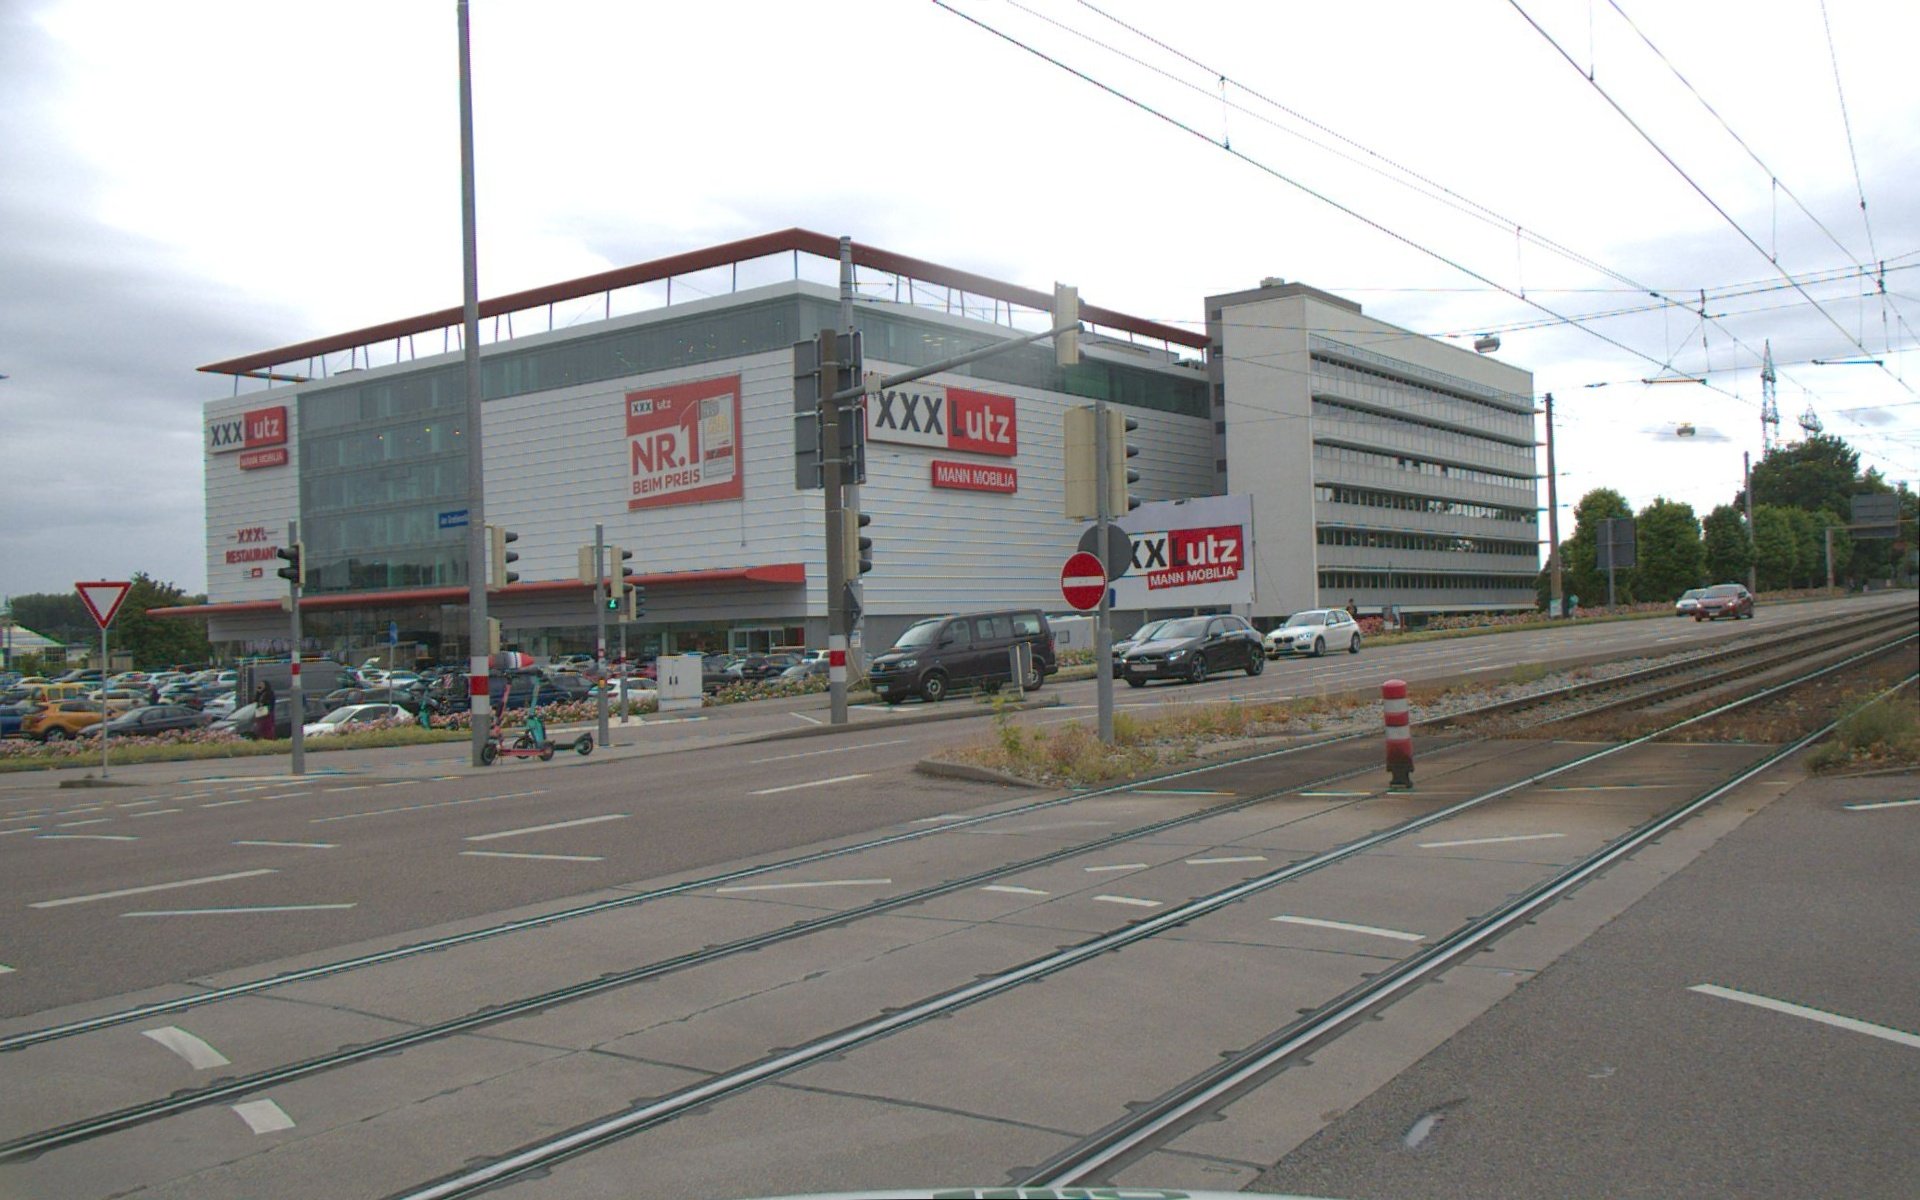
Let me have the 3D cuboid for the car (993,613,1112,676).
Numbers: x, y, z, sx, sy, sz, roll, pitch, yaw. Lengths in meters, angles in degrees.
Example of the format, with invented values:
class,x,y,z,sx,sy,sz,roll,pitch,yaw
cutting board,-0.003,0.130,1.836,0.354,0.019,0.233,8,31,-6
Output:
class,x,y,z,sx,sy,sz,roll,pitch,yaw
car,4.843,2.260,85.507,2.715,3.042,6.920,-1,-1,37

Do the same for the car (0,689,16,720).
class,x,y,z,sx,sy,sz,roll,pitch,yaw
car,-54.315,5.826,90.573,1.799,1.693,4.165,-4,-3,39

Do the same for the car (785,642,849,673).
class,x,y,z,sx,sy,sz,roll,pitch,yaw
car,-8.147,3.276,94.500,1.619,1.587,3.600,-2,0,38

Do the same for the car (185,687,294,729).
class,x,y,z,sx,sy,sz,roll,pitch,yaw
car,-31.515,4.735,72.442,1.828,1.579,3.981,-4,-3,38

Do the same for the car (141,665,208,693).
class,x,y,z,sx,sy,sz,roll,pitch,yaw
car,-51.005,5.125,107.395,1.708,1.615,3.560,-4,-3,41

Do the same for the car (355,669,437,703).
class,x,y,z,sx,sy,sz,roll,pitch,yaw
car,-31.476,4.778,92.363,1.797,1.684,3.986,-4,-2,35

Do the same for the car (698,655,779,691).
class,x,y,z,sx,sy,sz,roll,pitch,yaw
car,-11.227,3.696,84.068,1.744,1.558,3.982,-3,-1,38

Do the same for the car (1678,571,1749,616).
class,x,y,z,sx,sy,sz,roll,pitch,yaw
car,32.012,-0.291,70.252,1.960,1.758,3.986,-4,-1,35

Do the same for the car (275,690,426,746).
class,x,y,z,sx,sy,sz,roll,pitch,yaw
car,-18.918,3.633,51.495,1.838,1.471,4.105,-1,-1,35

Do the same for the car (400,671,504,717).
class,x,y,z,sx,sy,sz,roll,pitch,yaw
car,-22.185,4.101,72.377,1.849,1.699,3.982,-4,-2,38

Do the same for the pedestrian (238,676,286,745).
class,x,y,z,sx,sy,sz,roll,pitch,yaw
pedestrian,-17.371,2.750,41.184,0.699,1.625,0.784,-5,-3,12

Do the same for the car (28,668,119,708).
class,x,y,z,sx,sy,sz,roll,pitch,yaw
car,-44.593,4.396,83.244,1.700,1.799,3.731,-1,-1,38

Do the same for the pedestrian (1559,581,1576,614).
class,x,y,z,sx,sy,sz,roll,pitch,yaw
pedestrian,31.698,-0.120,86.306,0.605,1.682,0.540,0,-1,-26

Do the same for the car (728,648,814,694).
class,x,y,z,sx,sy,sz,roll,pitch,yaw
car,-9.377,3.509,82.080,1.913,1.962,3.981,-5,-2,39

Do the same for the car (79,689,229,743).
class,x,y,z,sx,sy,sz,roll,pitch,yaw
car,-28.452,4.054,58.501,1.734,1.611,4.524,-1,-1,36

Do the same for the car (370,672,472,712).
class,x,y,z,sx,sy,sz,roll,pitch,yaw
car,-24.187,4.129,74.307,1.819,1.583,3.982,-4,-3,37

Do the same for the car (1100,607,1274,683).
class,x,y,z,sx,sy,sz,roll,pitch,yaw
car,5.162,0.989,37.226,1.804,1.489,4.183,-5,-2,41

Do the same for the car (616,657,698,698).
class,x,y,z,sx,sy,sz,roll,pitch,yaw
car,-15.803,4.018,86.363,1.786,1.850,3.981,-5,-2,39

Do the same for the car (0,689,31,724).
class,x,y,z,sx,sy,sz,roll,pitch,yaw
car,-52.579,5.772,88.849,1.853,1.774,4.305,-1,-1,39

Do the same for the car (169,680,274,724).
class,x,y,z,sx,sy,sz,roll,pitch,yaw
car,-33.222,4.572,74.468,1.794,1.683,3.891,-3,0,35

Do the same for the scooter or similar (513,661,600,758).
class,x,y,z,sx,sy,sz,roll,pitch,yaw
scooter or similar,-5.704,1.544,23.409,1.105,1.277,0.316,-3,-3,-41

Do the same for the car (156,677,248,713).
class,x,y,z,sx,sy,sz,roll,pitch,yaw
car,-39.341,4.926,85.947,1.752,1.663,3.981,-4,-3,38

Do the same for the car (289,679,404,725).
class,x,y,z,sx,sy,sz,roll,pitch,yaw
car,-25.220,4.188,68.062,1.961,1.596,3.984,-4,-1,37

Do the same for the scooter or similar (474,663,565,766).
class,x,y,z,sx,sy,sz,roll,pitch,yaw
scooter or similar,-5.892,1.531,22.147,1.009,1.277,0.458,-3,-3,-40

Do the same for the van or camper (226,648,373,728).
class,x,y,z,sx,sy,sz,roll,pitch,yaw
van or camper,-27.650,3.661,69.402,1.958,3.036,5.359,-5,-3,45

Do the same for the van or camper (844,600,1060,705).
class,x,y,z,sx,sy,sz,roll,pitch,yaw
van or camper,-0.166,1.226,39.298,4.703,2.048,2.096,-4,-2,-37

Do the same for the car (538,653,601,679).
class,x,y,z,sx,sy,sz,roll,pitch,yaw
car,-25.555,4.285,108.268,1.794,1.581,3.791,-1,-1,36

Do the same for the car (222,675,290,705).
class,x,y,z,sx,sy,sz,roll,pitch,yaw
car,-43.054,5.510,101.184,1.472,1.583,3.541,-4,-1,38

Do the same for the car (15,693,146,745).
class,x,y,z,sx,sy,sz,roll,pitch,yaw
car,-32.944,4.434,62.024,1.782,1.672,3.977,-4,-2,41

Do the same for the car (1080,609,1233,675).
class,x,y,z,sx,sy,sz,roll,pitch,yaw
car,5.325,1.111,44.498,1.933,1.489,4.297,-4,-1,41

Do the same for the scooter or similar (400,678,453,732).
class,x,y,z,sx,sy,sz,roll,pitch,yaw
scooter or similar,-13.159,2.588,40.811,1.138,1.254,0.346,-3,-3,-2

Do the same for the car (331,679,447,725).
class,x,y,z,sx,sy,sz,roll,pitch,yaw
car,-23.036,4.102,66.838,1.913,1.583,3.975,-5,-3,42

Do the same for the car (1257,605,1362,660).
class,x,y,z,sx,sy,sz,roll,pitch,yaw
car,10.943,0.986,51.627,1.699,1.566,4.030,-1,0,36

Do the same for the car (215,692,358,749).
class,x,y,z,sx,sy,sz,roll,pitch,yaw
car,-22.205,3.932,54.625,1.735,1.611,4.088,-2,-1,37

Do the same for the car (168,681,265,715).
class,x,y,z,sx,sy,sz,roll,pitch,yaw
car,-37.719,4.961,83.997,1.706,1.495,4.233,-1,-1,38

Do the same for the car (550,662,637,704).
class,x,y,z,sx,sy,sz,roll,pitch,yaw
car,-18.231,4.114,82.309,1.797,1.894,3.983,-4,-2,37

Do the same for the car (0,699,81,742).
class,x,y,z,sx,sy,sz,roll,pitch,yaw
car,-36.916,4.741,64.831,1.779,1.481,3.983,-4,-2,37

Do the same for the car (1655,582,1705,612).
class,x,y,z,sx,sy,sz,roll,pitch,yaw
car,40.916,-0.153,93.959,1.712,1.630,4.058,-1,-1,37

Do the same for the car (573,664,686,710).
class,x,y,z,sx,sy,sz,roll,pitch,yaw
car,-12.911,3.396,64.797,1.712,1.502,4.192,-4,-2,38

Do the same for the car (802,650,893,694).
class,x,y,z,sx,sy,sz,roll,pitch,yaw
car,-4.849,3.106,71.879,1.847,1.695,3.988,-3,-2,34

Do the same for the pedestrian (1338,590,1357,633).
class,x,y,z,sx,sy,sz,roll,pitch,yaw
pedestrian,16.350,0.486,69.763,0.681,1.822,0.643,-1,-1,19

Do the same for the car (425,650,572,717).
class,x,y,z,sx,sy,sz,roll,pitch,yaw
car,-17.459,3.152,62.757,2.084,2.203,5.023,-4,-2,41

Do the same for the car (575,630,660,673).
class,x,y,z,sx,sy,sz,roll,pitch,yaw
car,-18.080,2.702,87.419,1.961,2.049,3.982,-4,-1,38

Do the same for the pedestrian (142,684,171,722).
class,x,y,z,sx,sy,sz,roll,pitch,yaw
pedestrian,-38.373,4.892,78.951,0.867,1.750,0.939,-1,-1,35
